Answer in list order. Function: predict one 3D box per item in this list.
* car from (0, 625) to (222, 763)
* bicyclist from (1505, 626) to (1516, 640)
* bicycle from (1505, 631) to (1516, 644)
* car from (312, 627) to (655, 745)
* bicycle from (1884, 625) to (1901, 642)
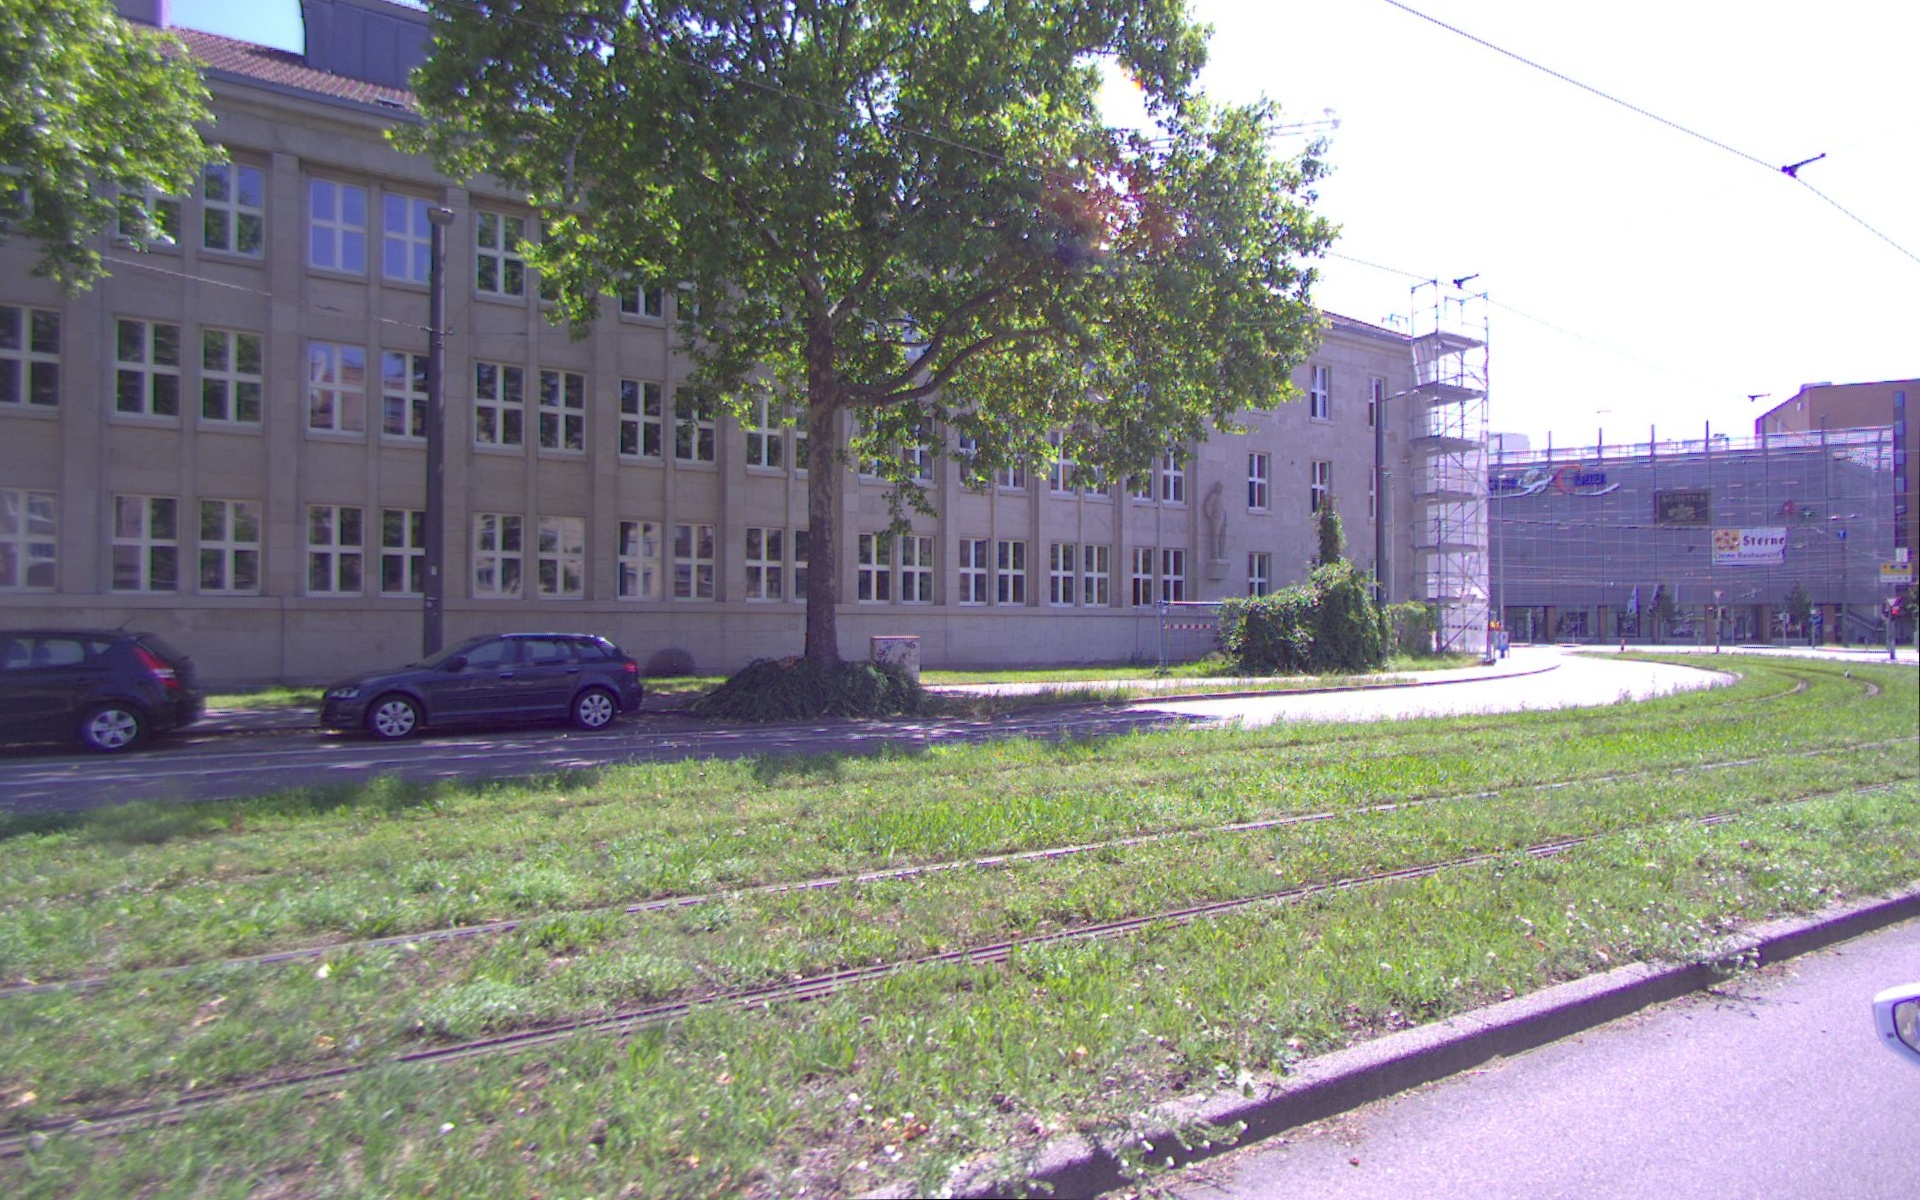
[{"bbox_3d":[-11.506,1.065,11.863,4.271,1.503,1.755,1,0,-30],"label":"car"},{"bbox_3d":[63.863,3.869,116.548,1.024,1.592,0.776,1,0,30],"label":"bicyclist"},{"bbox_3d":[63.757,4.368,116.372,1.046,1.409,3.018,1,0,30],"label":"bicycle"},{"bbox_3d":[-6.773,1.140,14.464,4.278,1.443,1.578,1,0,-34],"label":"car"},{"bbox_3d":[100.215,3.591,107.953,0.589,1.754,2.259,1,0,24],"label":"bicycle"}]
